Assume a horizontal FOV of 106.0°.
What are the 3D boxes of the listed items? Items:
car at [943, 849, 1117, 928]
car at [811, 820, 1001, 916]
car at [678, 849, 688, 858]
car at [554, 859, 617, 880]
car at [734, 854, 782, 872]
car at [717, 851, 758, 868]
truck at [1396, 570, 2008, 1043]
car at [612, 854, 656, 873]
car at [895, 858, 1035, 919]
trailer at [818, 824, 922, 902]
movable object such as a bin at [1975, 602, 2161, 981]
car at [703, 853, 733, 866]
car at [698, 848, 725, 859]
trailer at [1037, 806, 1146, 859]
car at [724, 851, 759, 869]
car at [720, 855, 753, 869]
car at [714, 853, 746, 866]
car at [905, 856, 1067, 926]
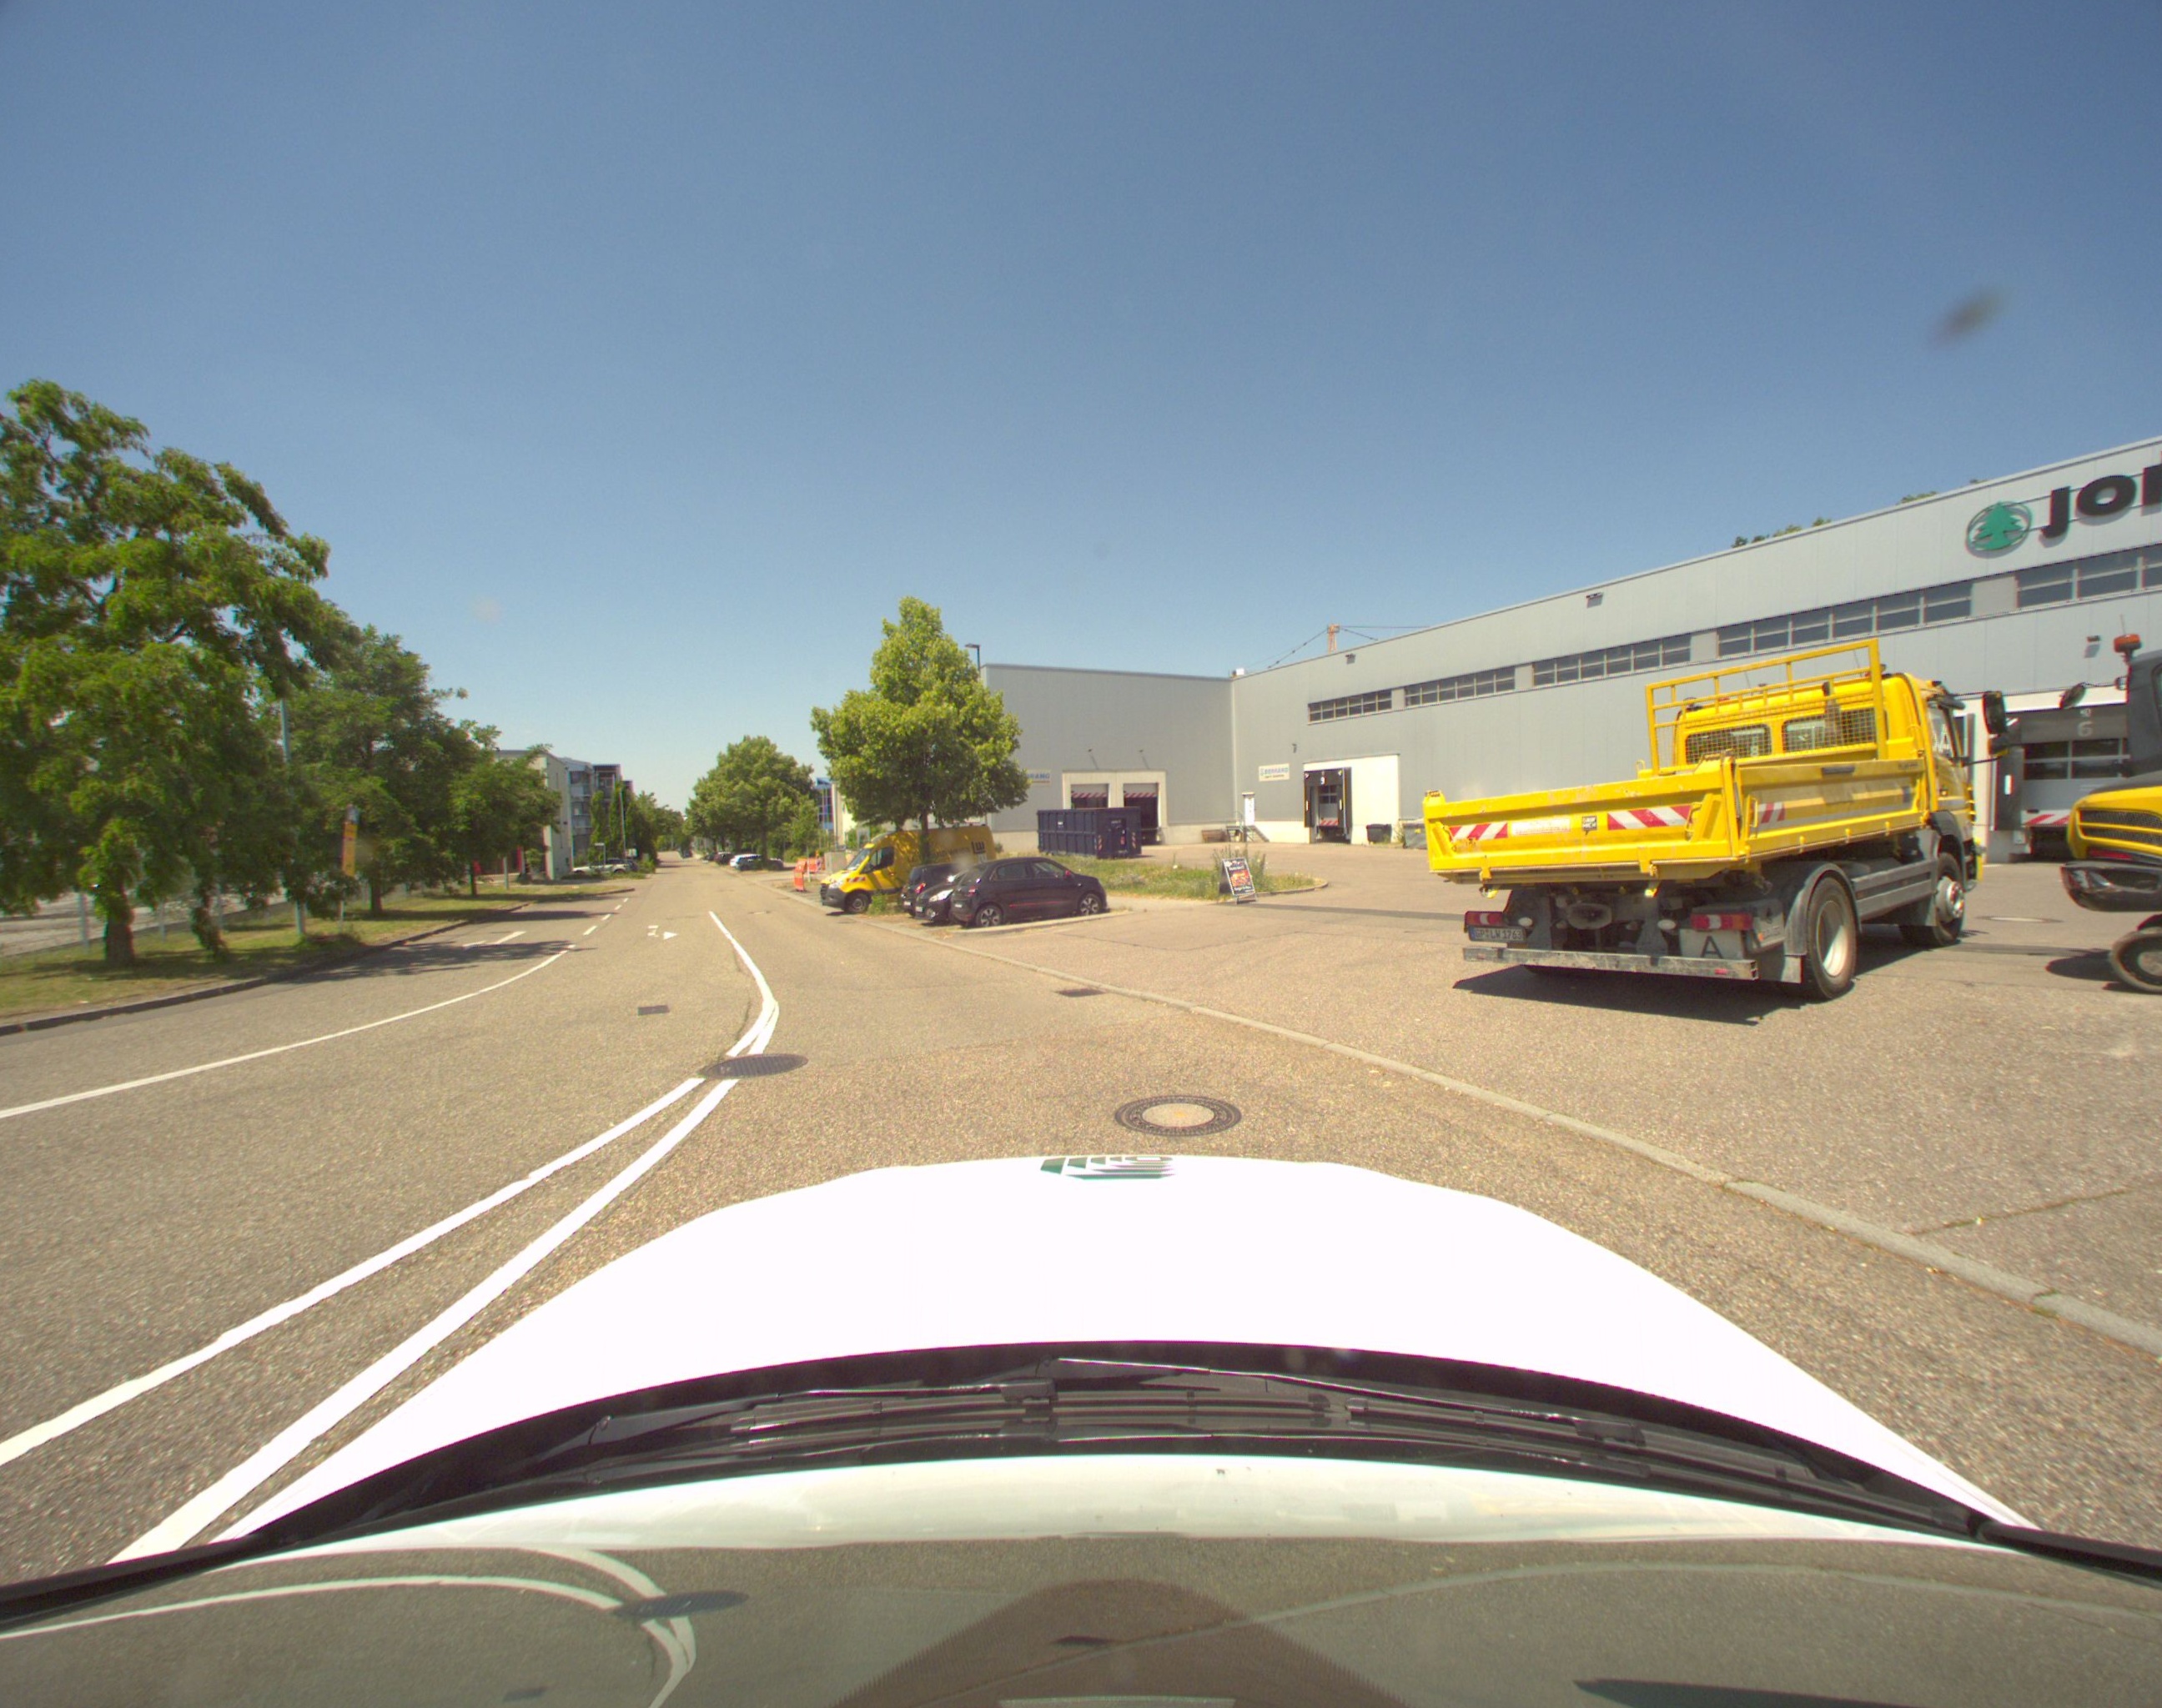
[{"bbox_3d":[-1.177,0.741,19.073,3.681,1.462,1.613,-5,2,-27],"label":"car"},{"bbox_3d":[-5.842,0.365,27.457,5.815,2.732,1.982,-4,3,-29],"label":"car"},{"bbox_3d":[-82.916,-0.154,169.815,1.770,1.755,3.911,-2,1,-26],"label":"car"},{"bbox_3d":[-38.415,1.167,63.192,4.071,1.494,1.712,-2,1,-30],"label":"car"},{"bbox_3d":[-29.188,0.789,73.560,3.704,1.354,1.629,-5,3,-32],"label":"car"},{"bbox_3d":[-34.490,0.518,81.833,3.541,1.354,1.523,-5,3,-32],"label":"car"},{"bbox_3d":[6.453,-0.538,8.168,6.447,3.136,2.570,-5,1,-31],"label":"truck"},{"bbox_3d":[-37.728,0.774,68.743,3.080,1.478,1.279,-1,0,-34],"label":"car"},{"bbox_3d":[-3.317,0.930,23.436,3.624,1.478,1.613,-3,1,-29],"label":"car"},{"bbox_3d":[-8.970,0.323,34.201,2.674,2.856,5.466,-5,2,-30],"label":"trailer"},{"bbox_3d":[9.177,-0.481,3.725,2.001,2.581,6.529,-2,0,-22],"label":"movable object such as a bin"},{"bbox_3d":[-56.201,0.849,126.188,3.961,1.834,1.748,-2,4,-35],"label":"car"},{"bbox_3d":[-62.114,-0.157,136.988,3.961,1.577,1.748,-2,4,-35],"label":"car"},{"bbox_3d":[0.344,-1.222,41.758,2.672,2.420,7.356,-1,4,-25],"label":"trailer"},{"bbox_3d":[-41.433,0.712,99.386,3.743,2.110,1.798,-2,1,-28],"label":"car"},{"bbox_3d":[-43.314,0.944,102.362,3.743,1.626,1.798,-2,1,-28],"label":"car"},{"bbox_3d":[-46.023,0.728,106.774,3.743,1.626,1.798,-2,1,-28],"label":"car"},{"bbox_3d":[-2.420,0.887,21.006,3.794,1.507,1.576,-3,1,-29],"label":"car"}]
